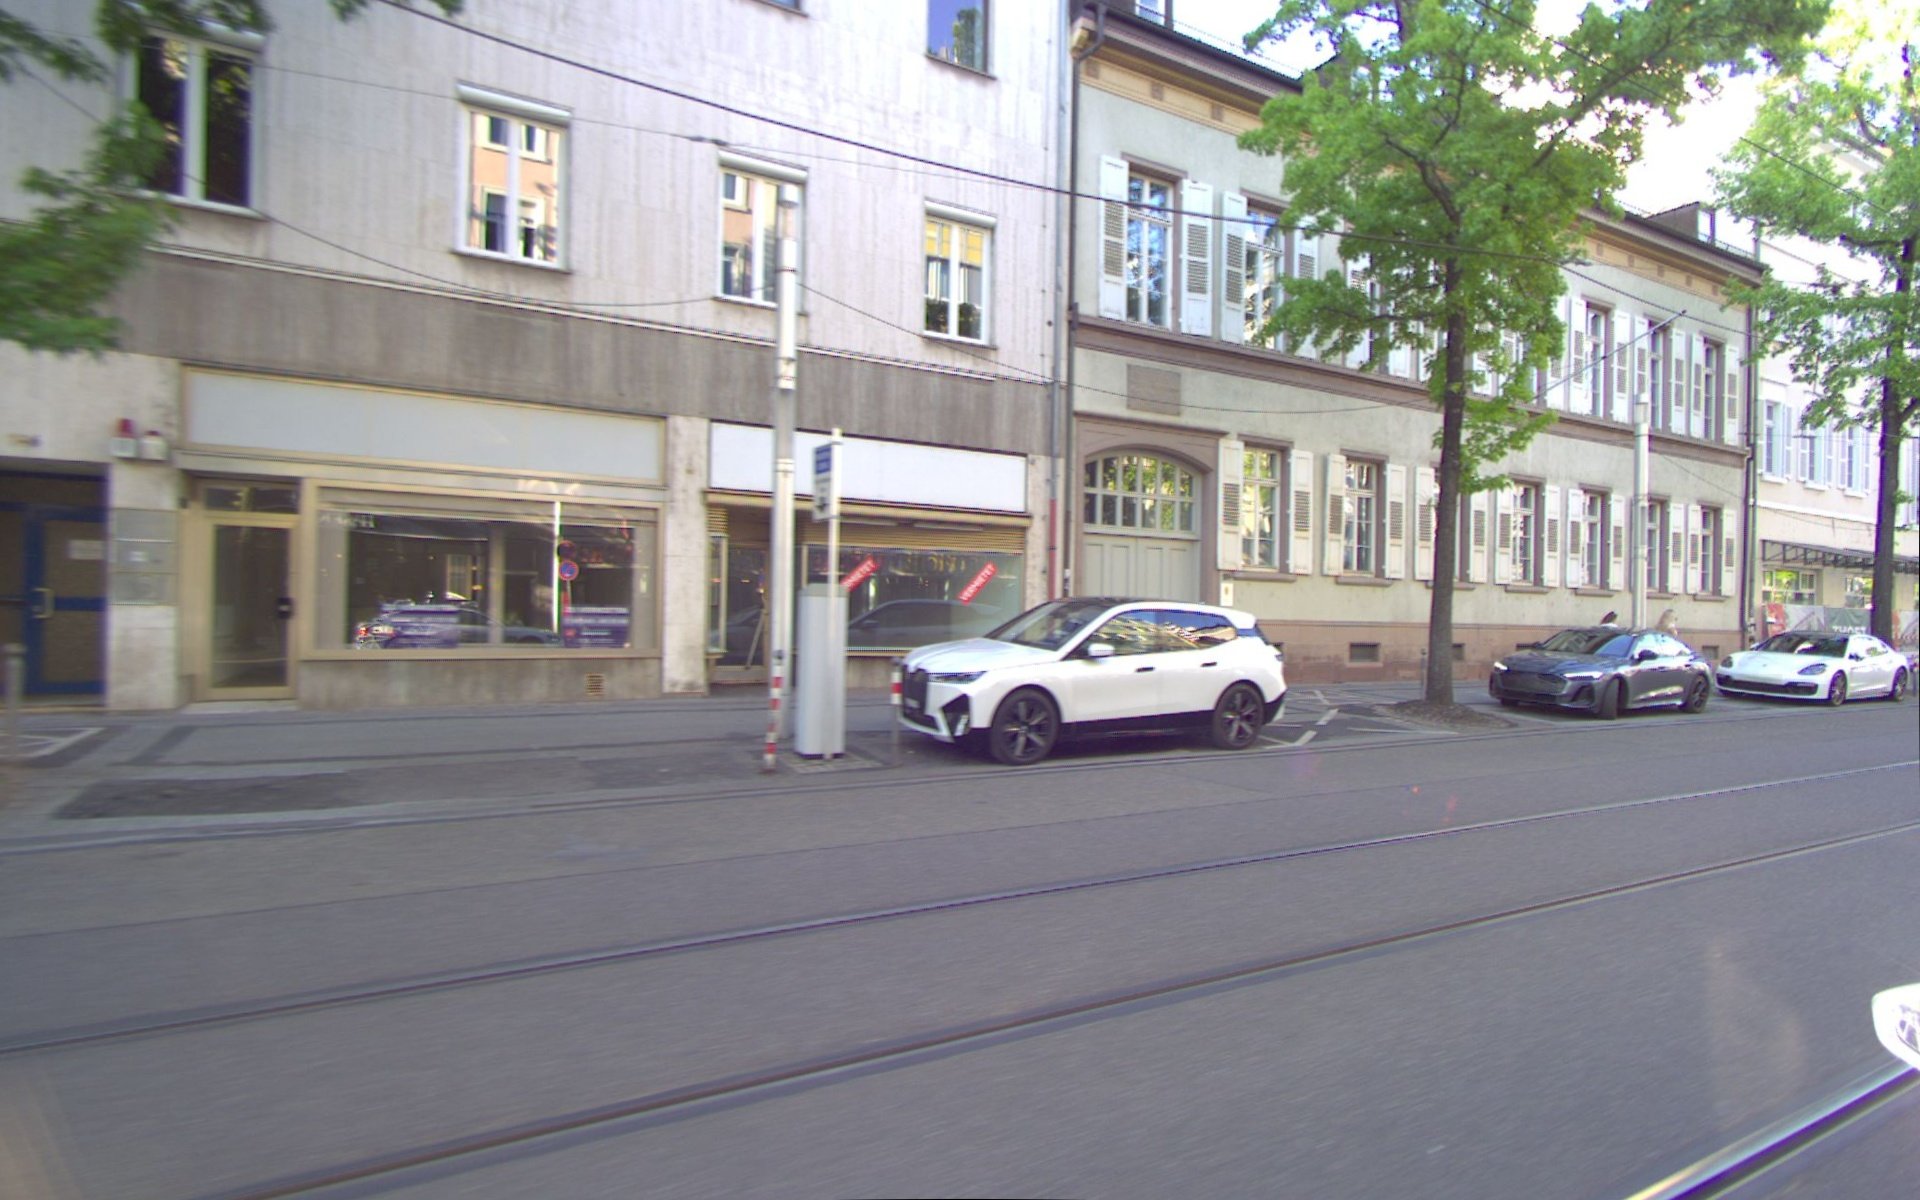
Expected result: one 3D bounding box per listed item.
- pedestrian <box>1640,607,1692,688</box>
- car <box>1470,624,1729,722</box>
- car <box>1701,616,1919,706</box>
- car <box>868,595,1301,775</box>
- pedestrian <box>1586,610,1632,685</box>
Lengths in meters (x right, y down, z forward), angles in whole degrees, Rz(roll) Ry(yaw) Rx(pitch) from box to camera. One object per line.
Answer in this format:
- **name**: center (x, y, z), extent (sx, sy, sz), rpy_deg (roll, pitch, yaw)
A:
- **pedestrian**: center (15.477, 1.031, 22.028), extent (0.648, 1.744, 0.683), rpy_deg (1, 0, -29)
- **car**: center (11.158, 1.194, 17.430), extent (4.793, 1.431, 1.951), rpy_deg (2, -1, -32)
- **car**: center (18.043, 1.240, 21.215), extent (4.848, 1.662, 1.939), rpy_deg (2, 0, -28)
- **car**: center (1.518, 0.879, 11.747), extent (4.754, 1.662, 1.953), rpy_deg (2, 2, -29)
- **pedestrian**: center (15.069, 1.100, 23.336), extent (0.640, 1.702, 0.671), rpy_deg (1, -1, -29)
